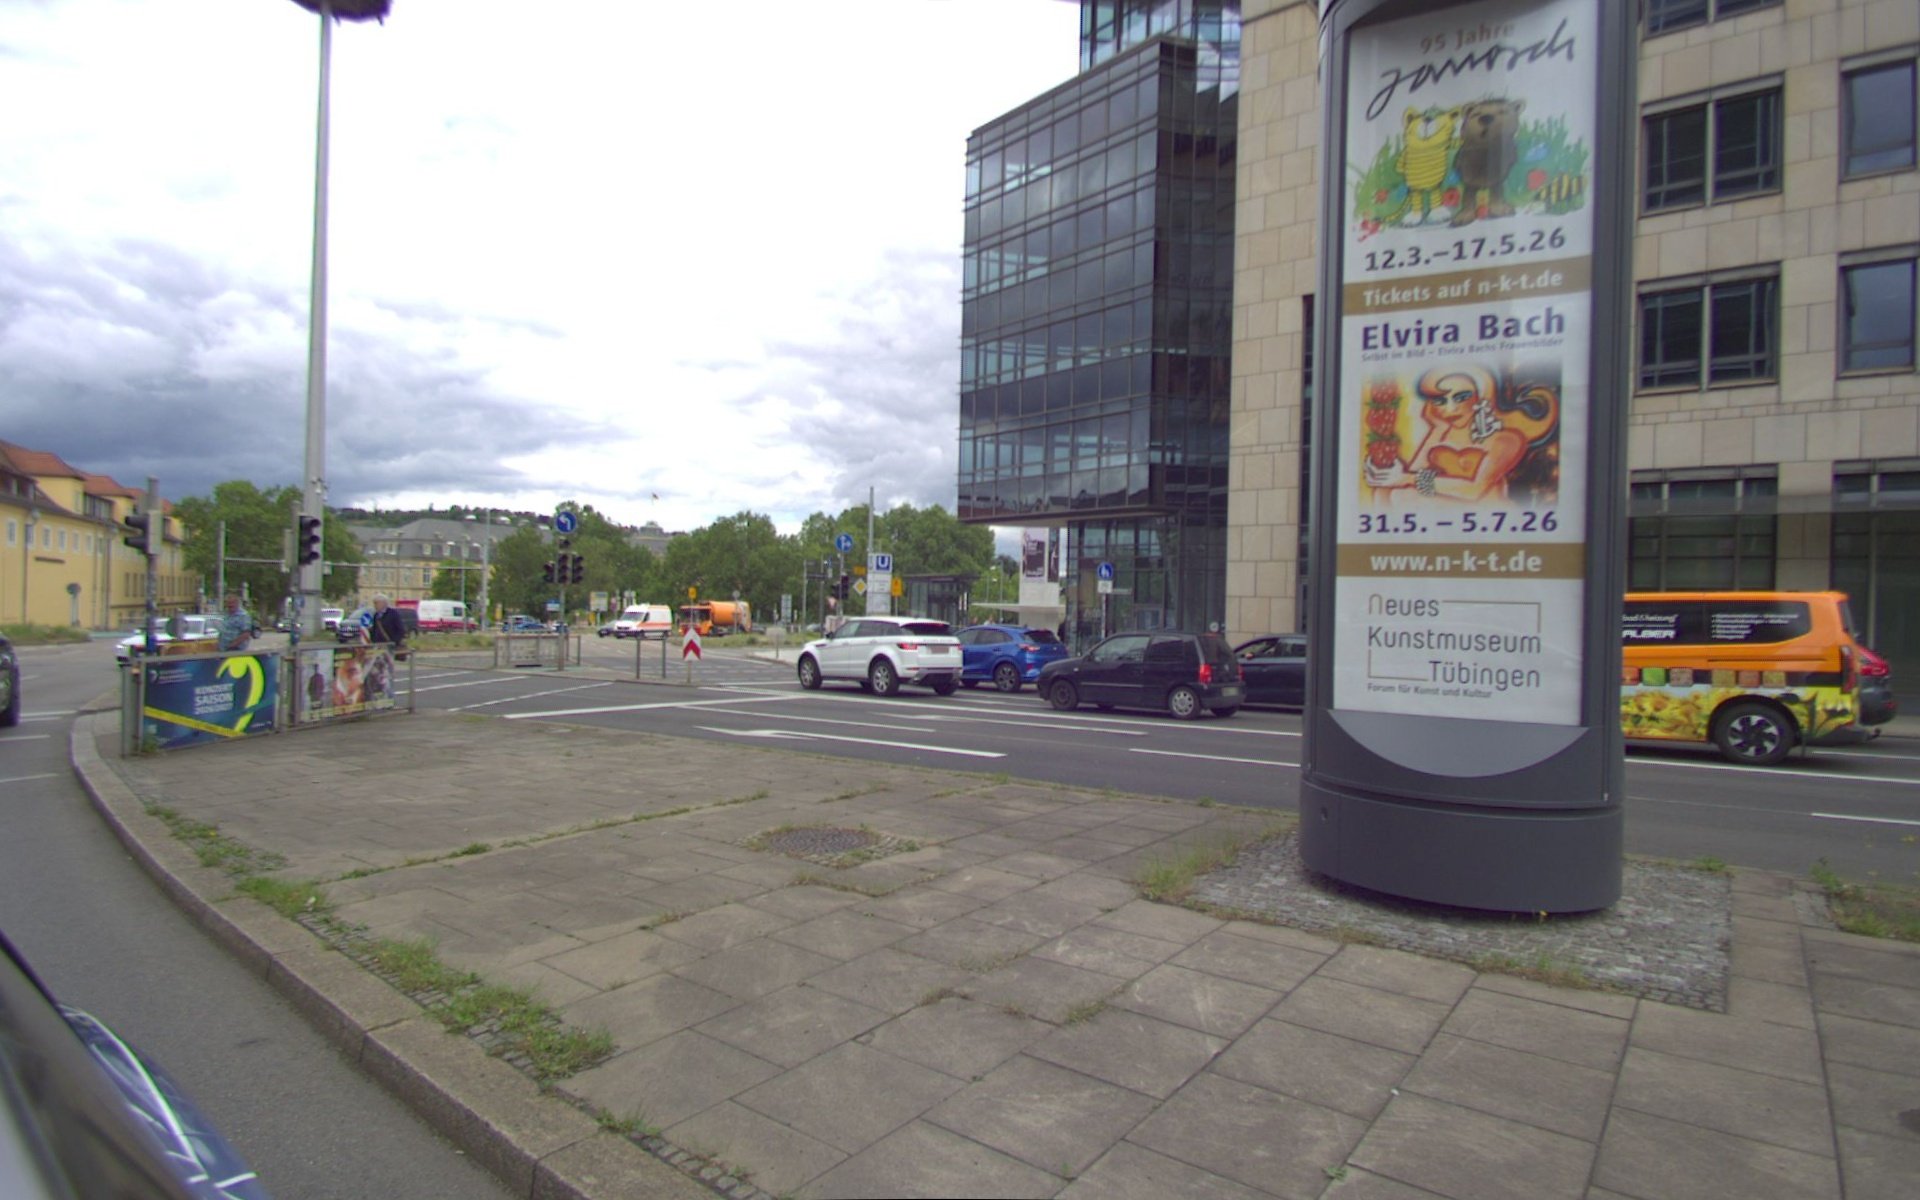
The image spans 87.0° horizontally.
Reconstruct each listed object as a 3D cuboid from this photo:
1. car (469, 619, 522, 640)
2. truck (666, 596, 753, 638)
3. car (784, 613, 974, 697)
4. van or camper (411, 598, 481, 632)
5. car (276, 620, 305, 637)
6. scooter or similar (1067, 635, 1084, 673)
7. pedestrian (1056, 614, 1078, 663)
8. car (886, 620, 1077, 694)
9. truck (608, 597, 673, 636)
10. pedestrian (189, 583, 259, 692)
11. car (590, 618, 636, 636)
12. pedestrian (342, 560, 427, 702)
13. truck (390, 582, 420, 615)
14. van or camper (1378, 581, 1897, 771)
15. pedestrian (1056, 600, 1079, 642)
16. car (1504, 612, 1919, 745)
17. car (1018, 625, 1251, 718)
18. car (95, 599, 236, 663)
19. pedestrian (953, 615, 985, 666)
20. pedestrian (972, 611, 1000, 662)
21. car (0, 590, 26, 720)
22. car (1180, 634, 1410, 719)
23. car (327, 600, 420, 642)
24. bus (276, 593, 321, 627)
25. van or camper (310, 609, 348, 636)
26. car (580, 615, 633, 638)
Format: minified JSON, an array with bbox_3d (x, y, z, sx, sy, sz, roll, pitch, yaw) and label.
[{"bbox_3d":[-35.027,2.242,76.483,1.921,1.494,4.628,-1,-1,-1],"label":"car"},{"bbox_3d":[-23.368,1.705,95.021,2.714,3.644,9.094,-2,-3,26],"label":"truck"},{"bbox_3d":[-1.817,1.096,21.587,1.714,1.611,4.323,2,-2,-43],"label":"car"},{"bbox_3d":[-39.265,1.157,77.546,2.118,2.496,6.158,0,-1,1],"label":"van or camper"},{"bbox_3d":[-59.762,2.534,90.374,1.797,1.419,4.012,2,-2,-30],"label":"car"},{"bbox_3d":[3.812,1.763,33.401,0.527,1.217,1.382,0,-1,8],"label":"scooter or similar"},{"bbox_3d":[4.052,1.457,38.303,0.690,1.824,0.928,0,-1,14],"label":"pedestrian"},{"bbox_3d":[0.441,1.243,23.279,4.089,1.537,1.973,-1,-2,41],"label":"car"},{"bbox_3d":[-24.040,1.286,76.379,1.938,2.805,5.762,0,-2,14],"label":"truck"},{"bbox_3d":[-12.560,0.652,17.278,0.634,1.804,0.708,-3,-6,39],"label":"pedestrian"},{"bbox_3d":[-27.543,2.163,80.391,1.655,1.383,3.278,0,-1,22],"label":"car"},{"bbox_3d":[-9.208,0.487,16.212,0.757,2.189,0.873,0,-2,21],"label":"pedestrian"},{"bbox_3d":[-63.198,-0.115,115.155,2.744,3.516,8.375,2,-2,-30],"label":"truck"},{"bbox_3d":[8.129,0.835,12.642,5.078,1.936,1.894,-1,-3,39],"label":"van or camper"},{"bbox_3d":[4.391,0.855,41.289,0.632,1.713,0.758,-1,-2,43],"label":"pedestrian"},{"bbox_3d":[10.803,1.046,14.871,4.678,1.658,1.974,-1,-3,39],"label":"car"},{"bbox_3d":[2.893,1.150,17.168,3.630,1.390,1.540,-1,-3,40],"label":"car"},{"bbox_3d":[-23.052,0.961,29.572,2.061,1.621,4.426,-2,-3,-22],"label":"car"},{"bbox_3d":[0.295,1.322,33.247,0.643,1.625,0.969,1,1,-28],"label":"pedestrian"},{"bbox_3d":[0.870,1.197,33.599,0.595,1.643,0.789,0,2,-28],"label":"pedestrian"},{"bbox_3d":[-12.948,0.699,12.236,1.973,1.651,5.031,0,-1,-37],"label":"car"},{"bbox_3d":[5.954,1.314,18.187,3.630,1.352,1.540,-1,-3,40],"label":"car"},{"bbox_3d":[-30.437,1.094,52.666,1.837,2.003,4.635,2,-1,4],"label":"car"},{"bbox_3d":[-66.430,1.048,101.843,3.377,3.228,13.101,0,-1,-31],"label":"bus"},{"bbox_3d":[-57.762,2.086,92.797,2.334,2.280,6.307,2,-2,-27],"label":"van or camper"},{"bbox_3d":[-27.797,2.072,79.723,1.851,1.752,3.707,0,-2,26],"label":"car"}]
